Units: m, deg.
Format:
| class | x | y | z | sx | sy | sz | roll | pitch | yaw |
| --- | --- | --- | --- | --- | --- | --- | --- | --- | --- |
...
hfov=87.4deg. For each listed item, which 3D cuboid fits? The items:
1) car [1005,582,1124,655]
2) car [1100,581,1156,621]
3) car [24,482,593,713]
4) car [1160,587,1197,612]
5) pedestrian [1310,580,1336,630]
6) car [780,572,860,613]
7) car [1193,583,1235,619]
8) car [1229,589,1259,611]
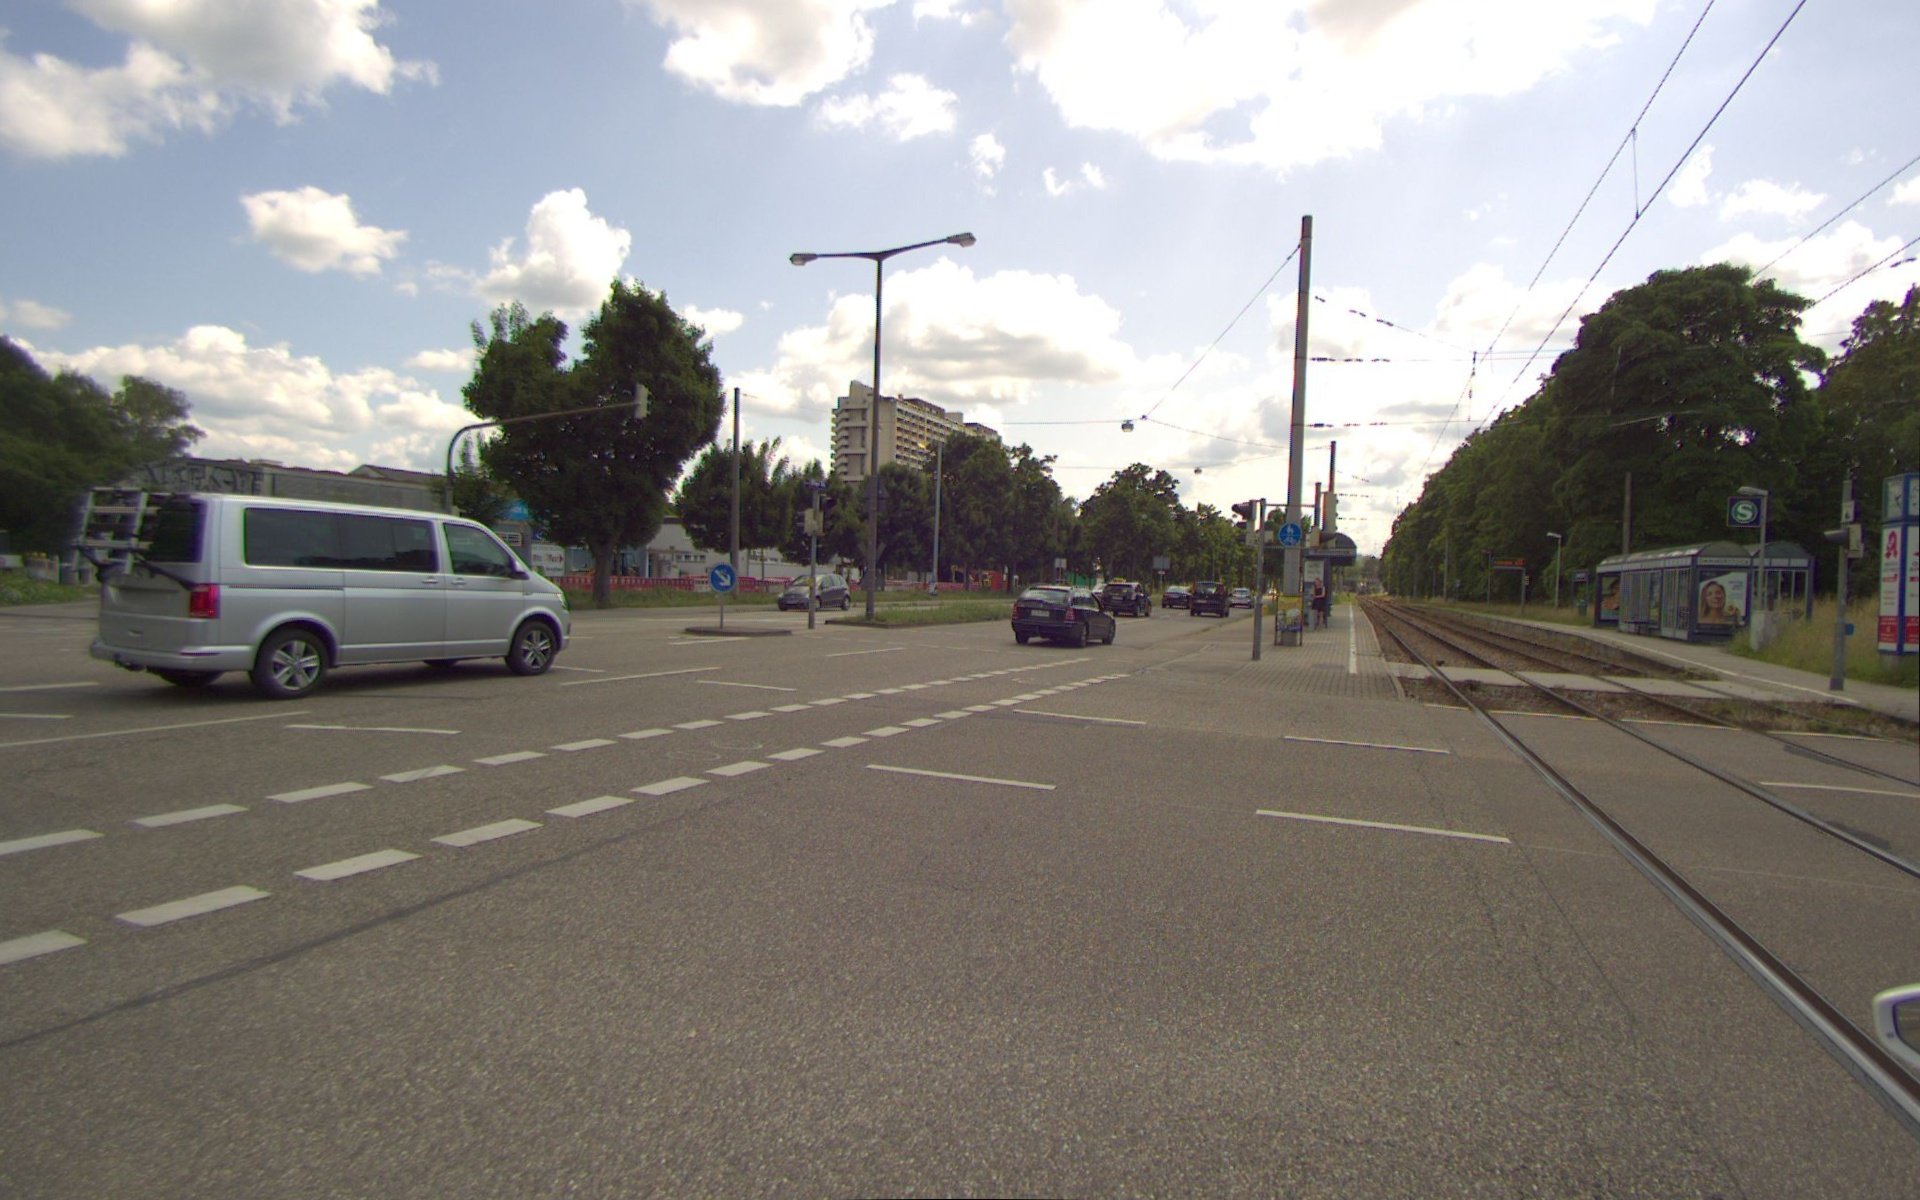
| class | x | y | z | sx | sy | sz | roll | pitch | yaw |
| --- | --- | --- | --- | --- | --- | --- | --- | --- | --- |
| car | 2.667 | 0.385 | 24.715 | 1.726 | 1.485 | 4.432 | 5 | 2 | 21 |
| car | 7.810 | 0.037 | 46.420 | 1.756 | 1.690 | 4.340 | 3 | 1 | 19 |
| car | -6.685 | -0.080 | 11.208 | 1.784 | 1.944 | 5.229 | 2 | 1 | 23 |
| car | 14.419 | -0.025 | 66.111 | 1.833 | 1.525 | 4.000 | 3 | 1 | 19 |
| pedestrian | 11.582 | 0.154 | 32.061 | 0.642 | 1.534 | 0.718 | 2 | 1 | 13 |
| car | -5.924 | -0.322 | 42.913 | 1.756 | 1.615 | 3.772 | 2 | 1 | 20 |
| car | 13.624 | 0.039 | 53.742 | 1.730 | 1.801 | 3.908 | 3 | 1 | 20 |
| car | 21.984 | -0.012 | 77.698 | 1.756 | 1.546 | 4.300 | 3 | 1 | 21 |
